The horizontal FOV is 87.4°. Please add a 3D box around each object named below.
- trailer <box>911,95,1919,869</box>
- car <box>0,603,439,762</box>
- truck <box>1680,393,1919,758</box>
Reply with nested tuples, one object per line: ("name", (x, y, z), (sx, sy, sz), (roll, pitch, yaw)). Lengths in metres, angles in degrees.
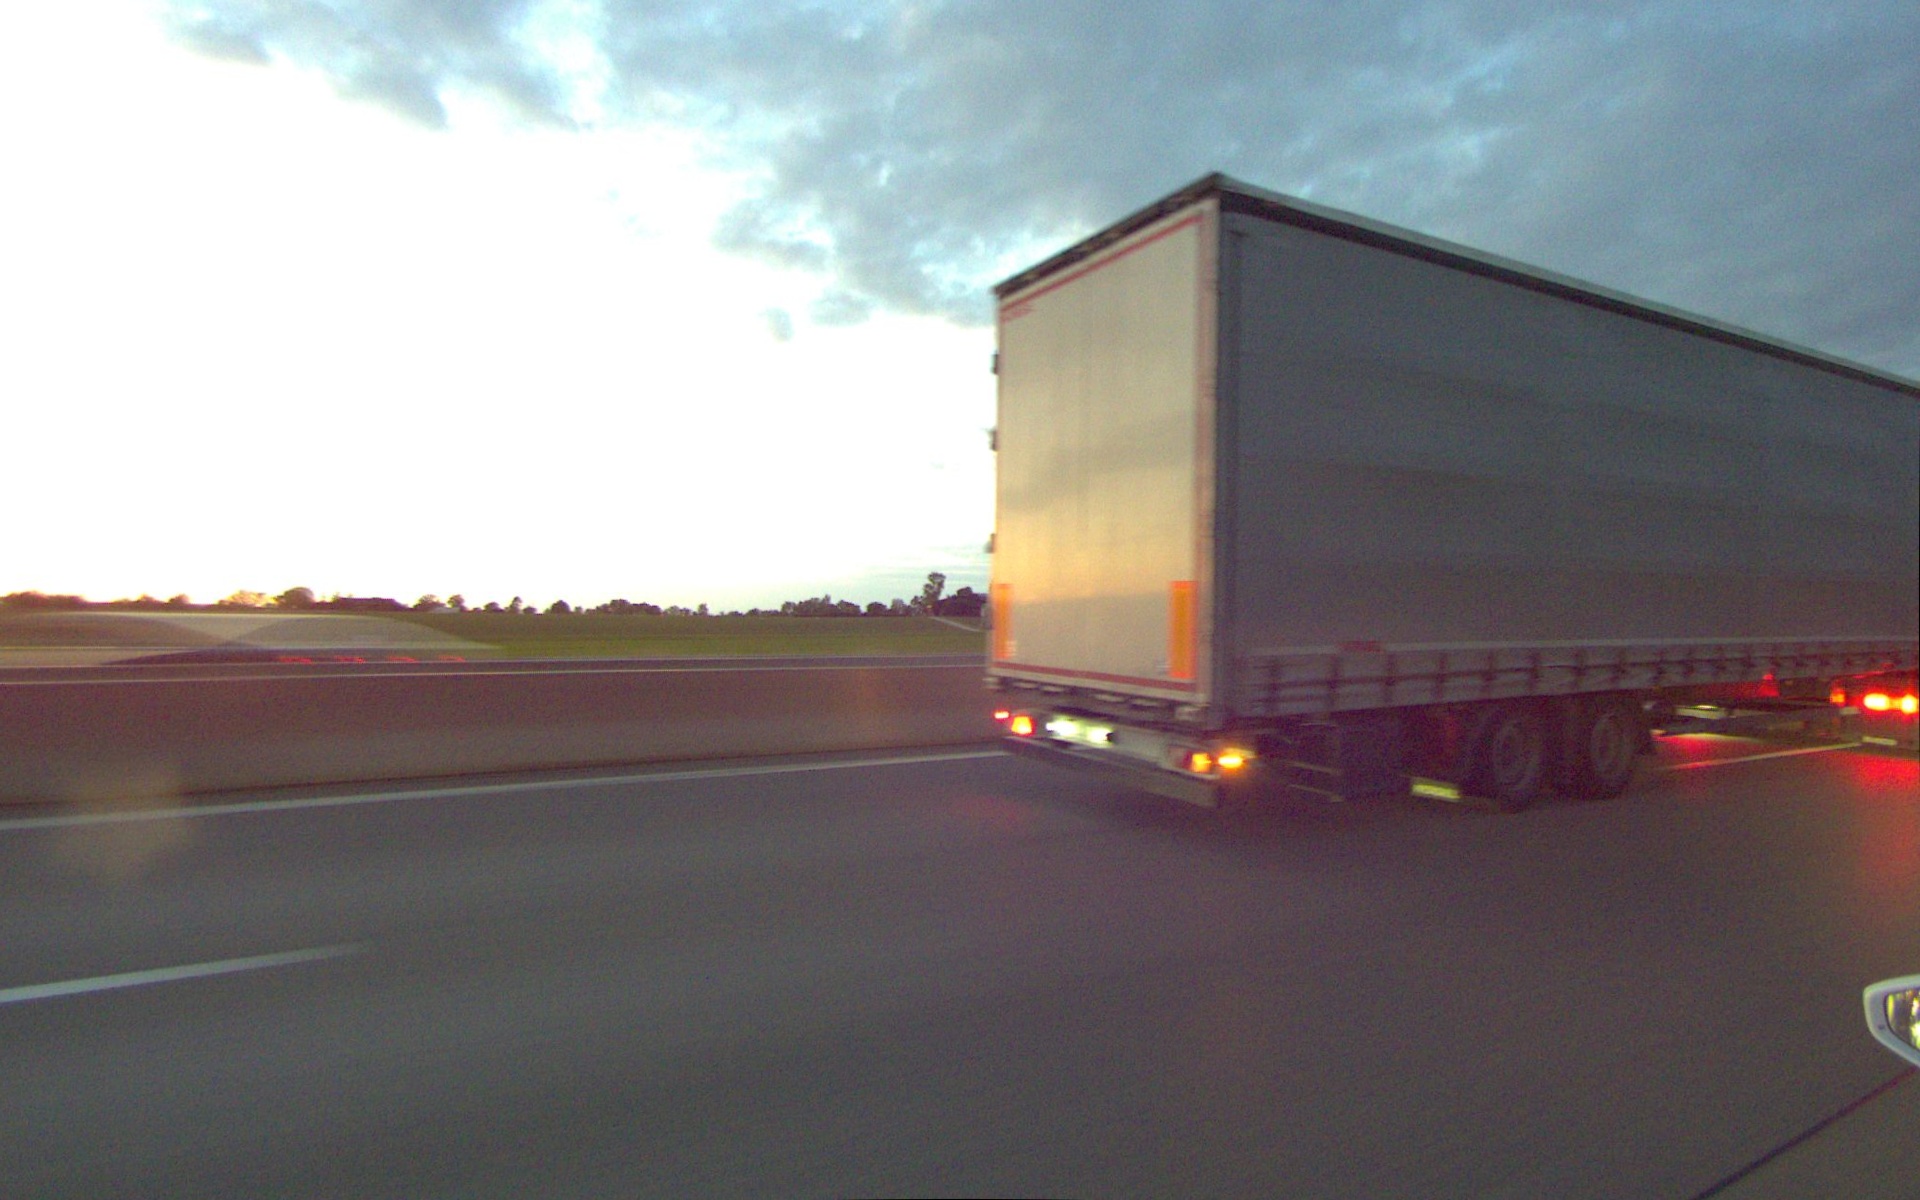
("trailer", (6.551, -0.401, 10.144), (14.352, 4.139, 2.781), (2, -2, -30))
("car", (-8.932, 0.932, 12.165), (4.572, 1.638, 1.691), (2, 0, -30))
("truck", (12.996, -0.173, 13.825), (6.030, 4.146, 2.765), (2, -2, -30))
